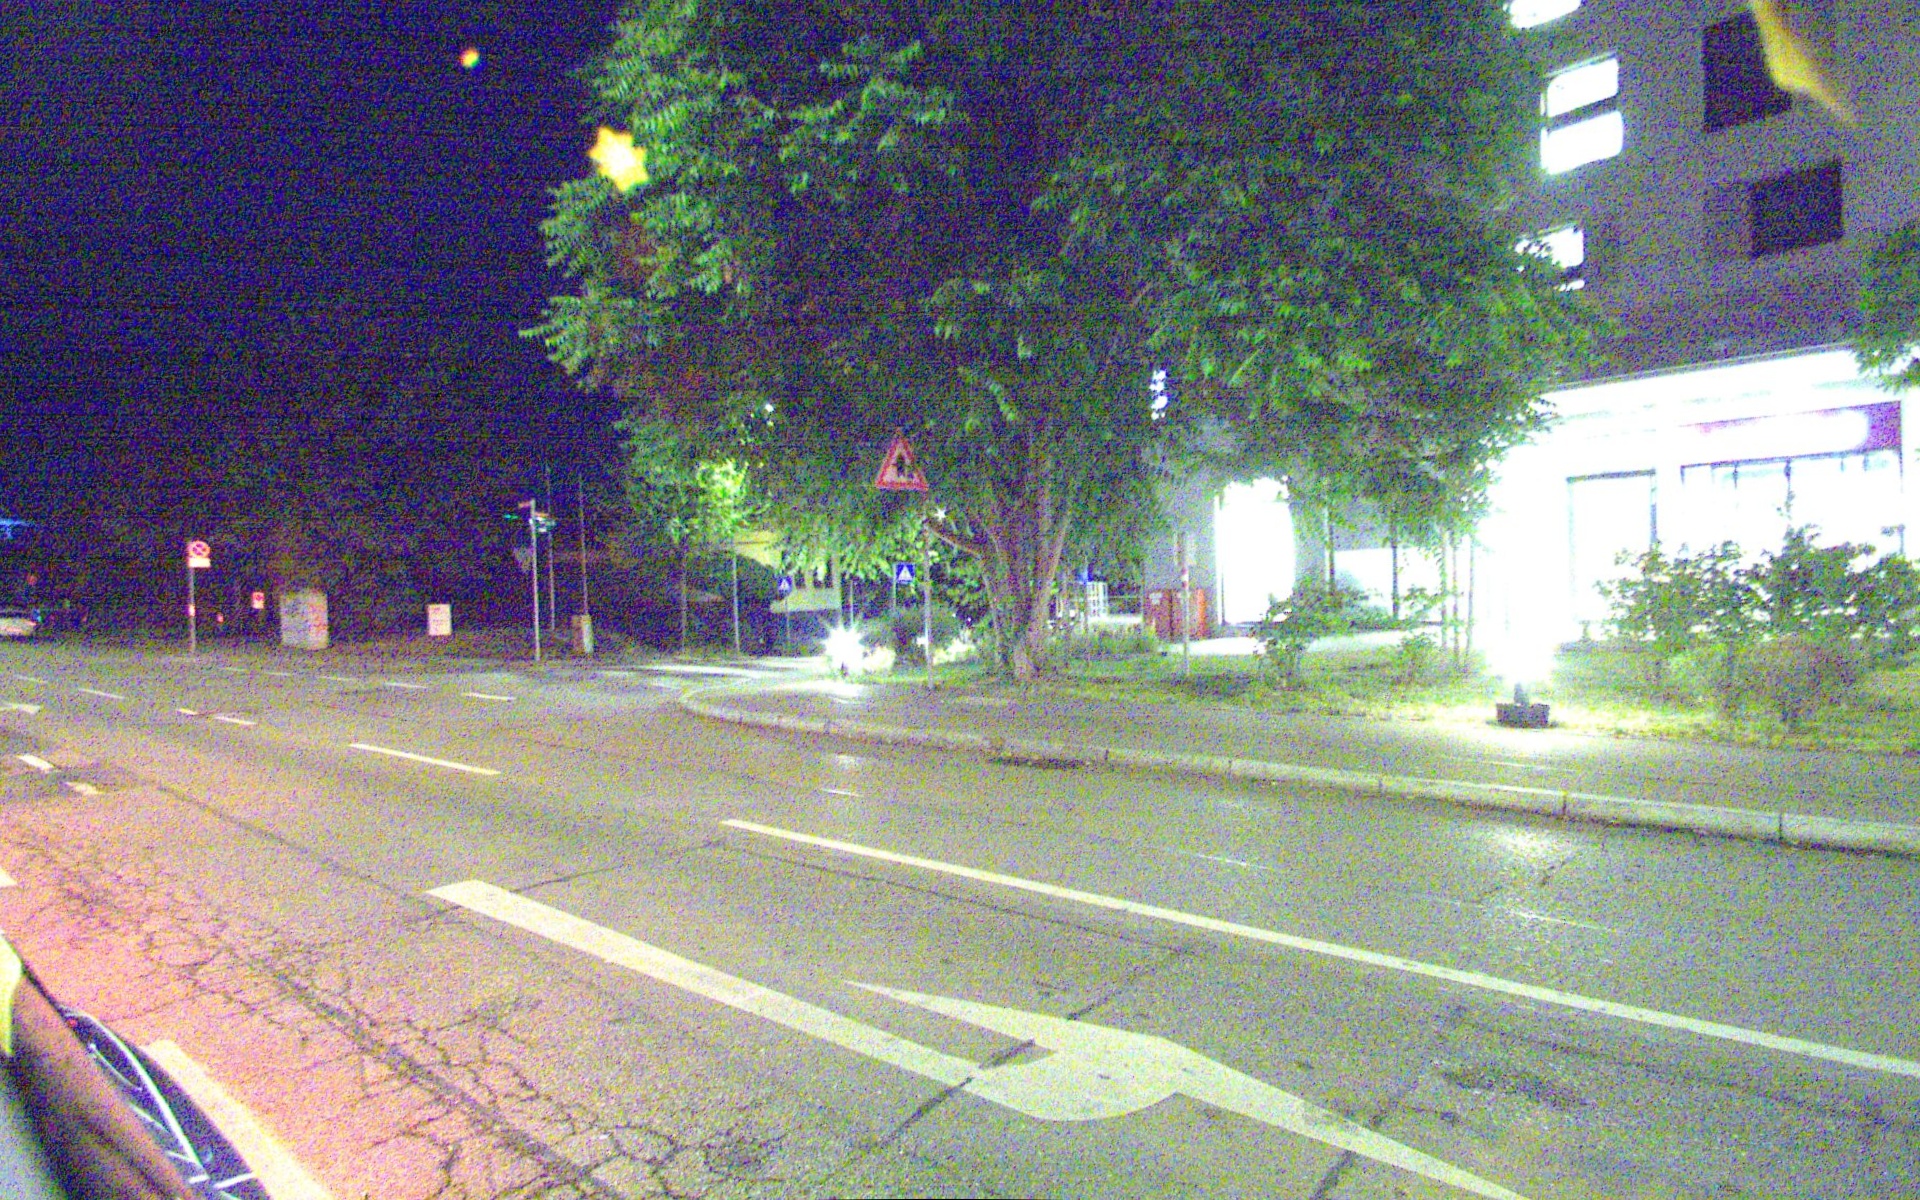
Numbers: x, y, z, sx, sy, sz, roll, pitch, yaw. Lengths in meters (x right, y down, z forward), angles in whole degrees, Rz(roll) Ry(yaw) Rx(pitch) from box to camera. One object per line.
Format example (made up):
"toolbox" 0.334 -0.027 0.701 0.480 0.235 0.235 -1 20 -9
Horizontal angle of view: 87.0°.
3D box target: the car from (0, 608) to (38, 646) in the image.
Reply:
"car" -43.171 1.198 45.610 3.996 1.604 1.784 -1 0 39

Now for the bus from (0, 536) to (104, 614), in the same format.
"bus" -88.433 -2.237 98.225 14.776 6.990 6.056 -1 0 41
